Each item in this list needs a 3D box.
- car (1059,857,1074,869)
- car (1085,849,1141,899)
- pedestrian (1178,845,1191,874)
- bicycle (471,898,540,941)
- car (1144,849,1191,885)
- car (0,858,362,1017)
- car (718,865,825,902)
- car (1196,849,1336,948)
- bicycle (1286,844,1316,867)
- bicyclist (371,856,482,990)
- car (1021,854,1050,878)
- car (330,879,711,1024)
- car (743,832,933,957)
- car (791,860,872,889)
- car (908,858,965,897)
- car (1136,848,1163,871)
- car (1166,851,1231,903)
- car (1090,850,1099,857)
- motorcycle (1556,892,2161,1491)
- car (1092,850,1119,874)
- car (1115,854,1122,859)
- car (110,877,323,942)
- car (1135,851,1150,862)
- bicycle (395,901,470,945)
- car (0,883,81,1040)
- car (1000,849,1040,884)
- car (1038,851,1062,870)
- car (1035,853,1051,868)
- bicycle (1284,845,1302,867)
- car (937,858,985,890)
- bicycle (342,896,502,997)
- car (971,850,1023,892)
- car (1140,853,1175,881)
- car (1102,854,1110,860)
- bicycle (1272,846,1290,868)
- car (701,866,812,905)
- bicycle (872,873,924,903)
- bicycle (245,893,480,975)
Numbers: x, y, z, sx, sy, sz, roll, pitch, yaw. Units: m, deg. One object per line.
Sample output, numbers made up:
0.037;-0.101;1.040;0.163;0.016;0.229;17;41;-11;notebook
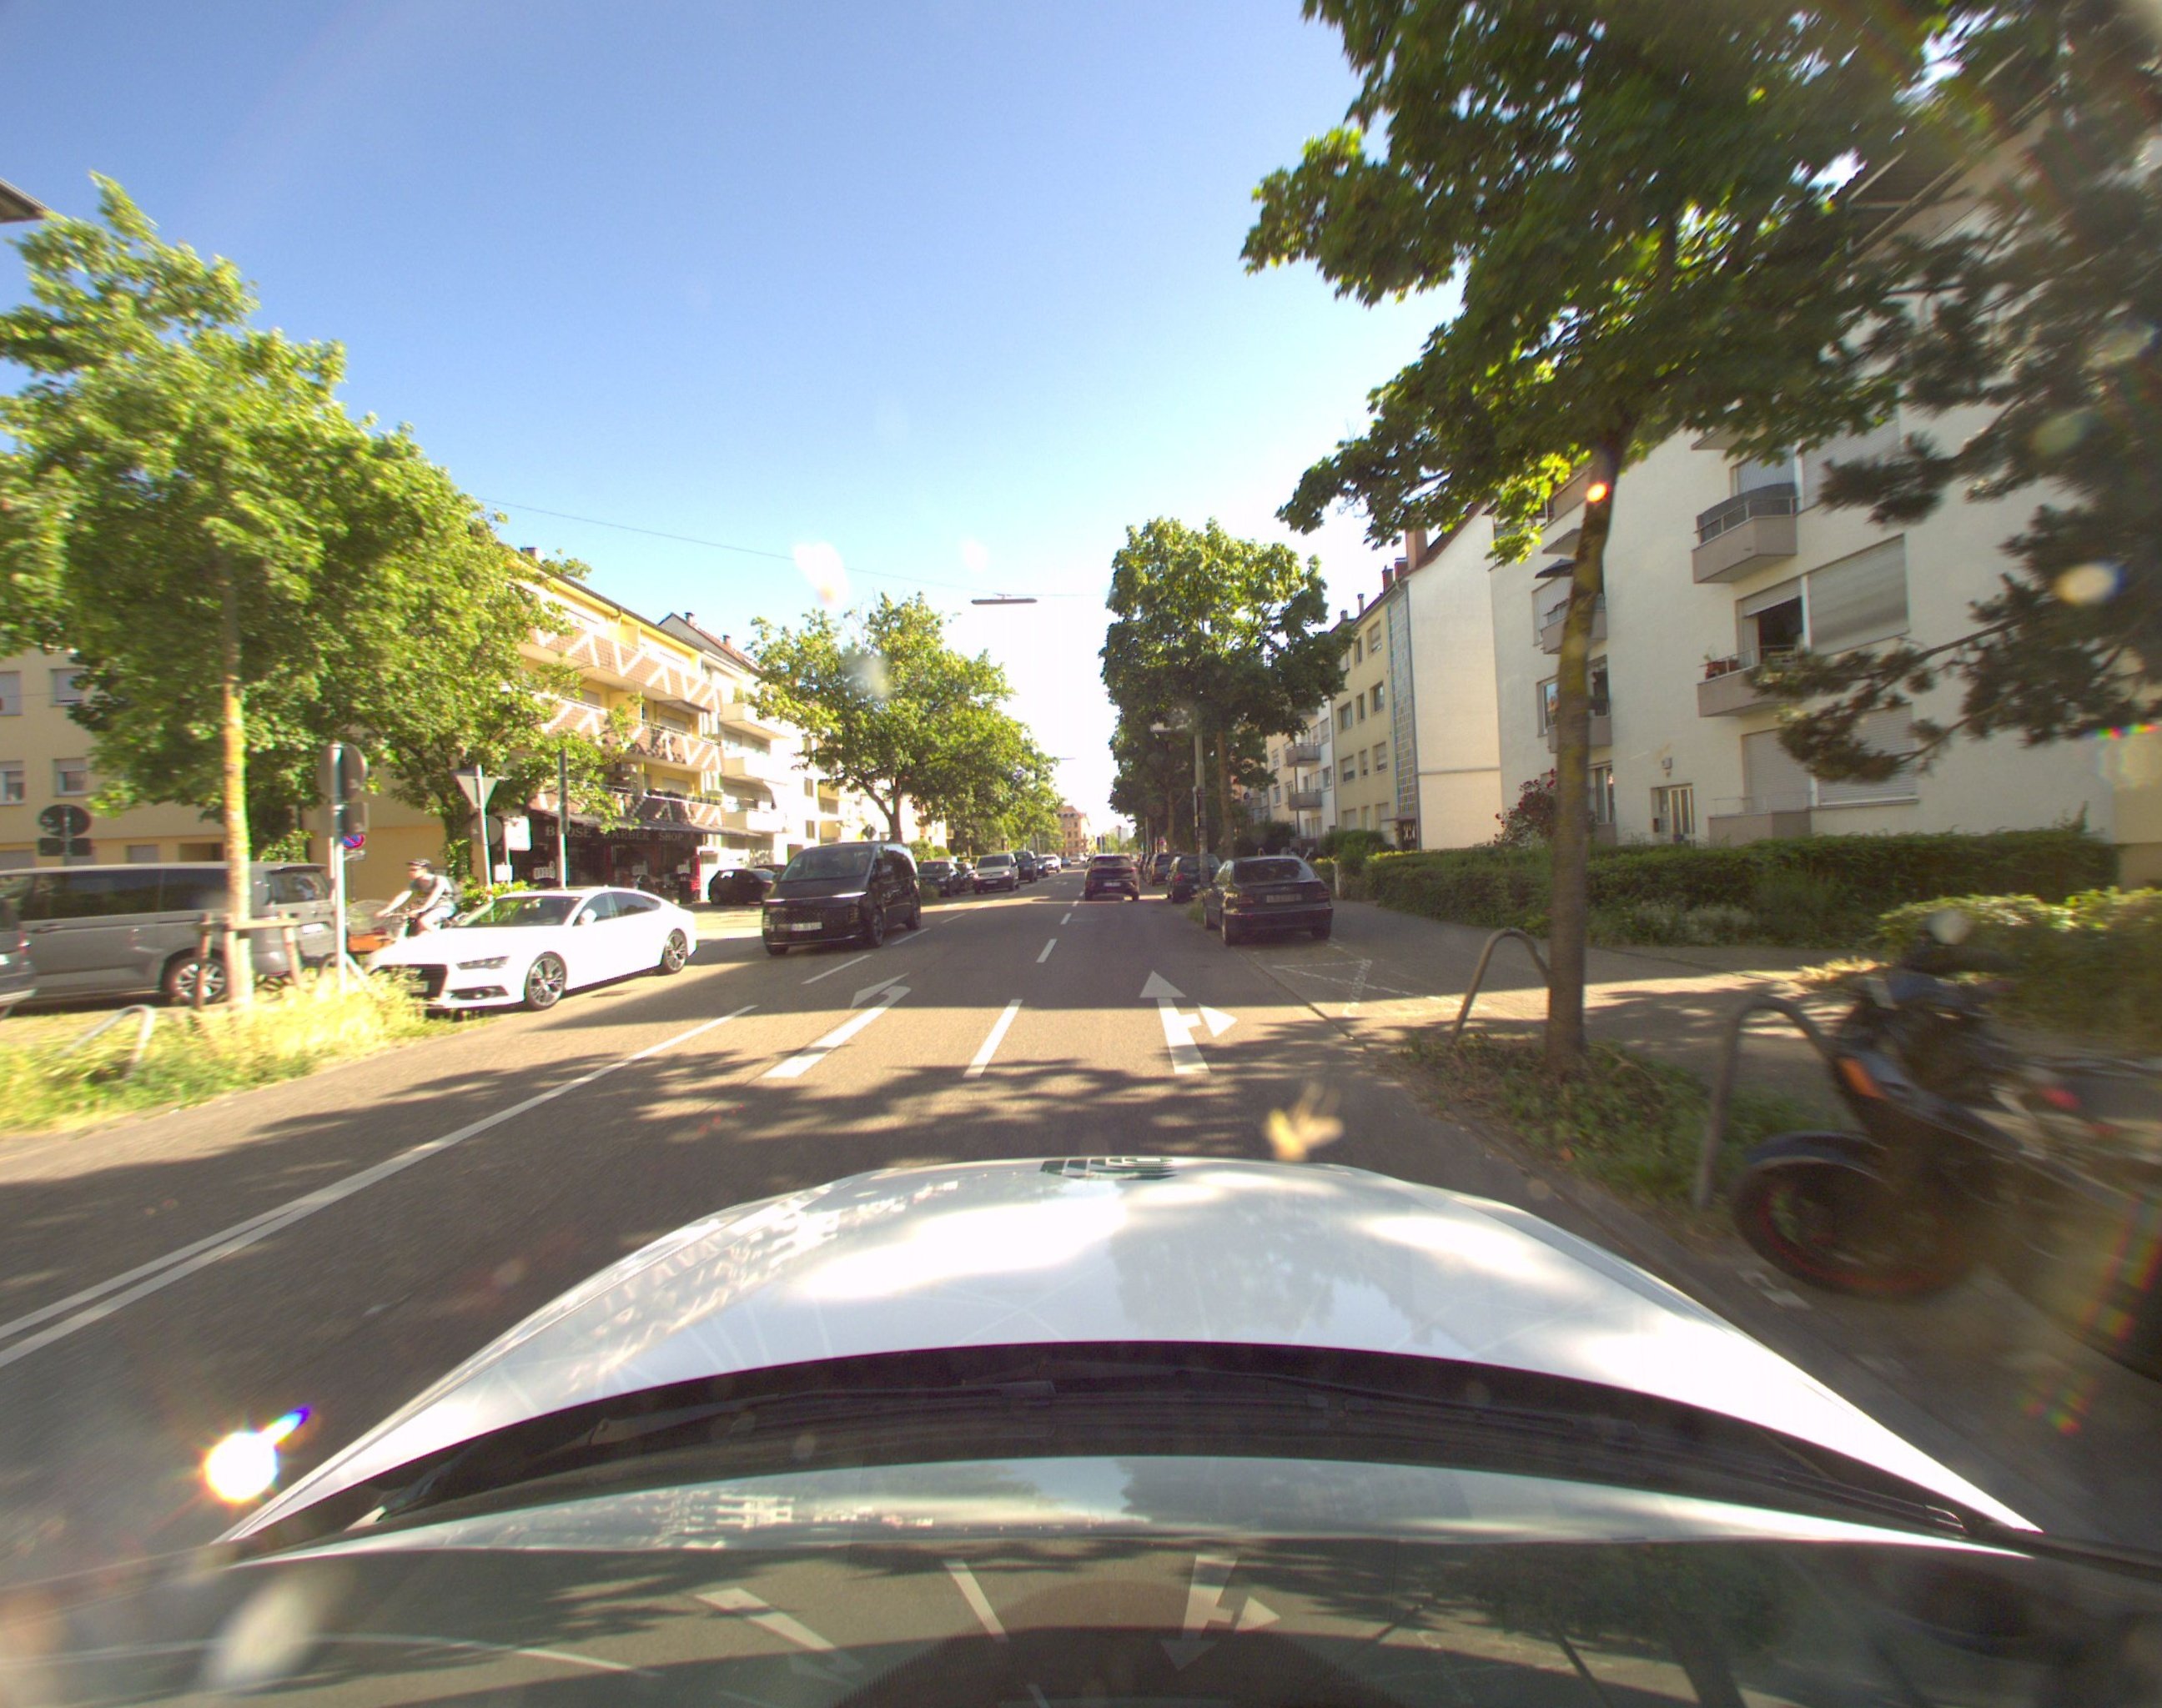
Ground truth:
-1.944;1.215;109.550;1.731;1.381;3.937;-4;0;1;car
1.061;0.635;27.625;1.739;1.573;3.559;-1;0;2;car
6.113;0.337;48.132;0.667;1.682;0.776;-3;0;1;pedestrian
-15.747;1.773;22.328;0.400;0.960;1.763;-3;1;8;bicycle
4.028;0.580;38.384;1.708;1.489;4.234;-3;0;0;car
-13.019;1.048;11.144;4.334;1.879;1.865;-2;0;-24;car
-13.437;1.255;35.402;3.962;1.461;1.738;-1;0;10;car
3.107;0.663;14.502;1.580;1.396;4.457;-4;0;2;car
12.979;0.117;48.098;1.520;1.222;0.466;-5;0;32;bicycle
-9.468;0.964;11.821;0.656;1.824;1.055;-3;0;2;bicyclist
-3.319;0.877;60.461;1.713;1.566;4.344;-5;0;1;car
-7.210;1.142;11.287;1.827;1.389;4.803;-1;0;1;car
-4.523;0.672;16.160;2.009;1.952;5.179;-4;0;1;car
-14.238;1.153;46.648;3.973;1.486;1.881;-1;0;1;car
-6.454;1.023;36.824;1.715;1.596;4.138;-1;0;2;car
4.945;0.371;59.526;1.554;1.515;3.654;-4;0;0;car
3.599;0.655;25.564;1.684;1.428;4.152;-3;0;4;car
2.833;-0.101;168.707;1.765;1.452;3.887;-2;0;2;car
2.646;0.779;2.105;0.701;1.271;2.411;-4;0;-26;motorcycle
1.786;0.540;58.253;1.823;1.578;3.841;-2;0;2;car
11.230;0.680;243.908;1.985;1.519;4.004;0;0;3;car
-23.480;1.488;22.214;3.972;1.442;1.647;-3;1;1;car
8.391;0.368;111.674;1.823;1.452;3.990;-2;0;2;car
-17.600;1.856;22.142;0.400;0.980;1.763;-3;1;8;bicycle
-13.487;1.217;8.209;3.924;1.644;1.667;-2;0;-23;car
-3.635;0.718;49.565;1.796;1.910;4.713;-5;0;2;car
-2.845;0.585;75.939;1.800;1.648;4.673;-5;0;1;car
-4.794;0.831;103.493;1.813;1.834;4.561;-2;0;0;car
12.979;0.108;49.863;0.589;1.287;1.690;-5;0;2;bicycle
-6.400;1.027;43.796;1.715;1.536;4.682;-1;0;2;car
-9.461;1.279;11.823;0.446;1.193;2.193;-3;0;2;bicycle
-3.898;0.751;38.504;1.809;1.743;4.494;-4;0;1;car
4.122;0.654;44.210;1.605;1.383;3.978;-3;0;2;car
6.250;0.654;203.869;1.802;1.407;4.005;-2;0;5;car
12.269;0.181;49.989;0.620;1.287;1.843;-5;0;2;bicycle
-13.018;1.252;32.708;3.954;1.456;1.742;-1;0;19;car
-6.794;1.264;30.222;2.005;1.091;0.465;-1;0;24;bicycle
-13.355;1.446;15.342;3.187;1.262;0.942;-1;-3;-33;bicycle
